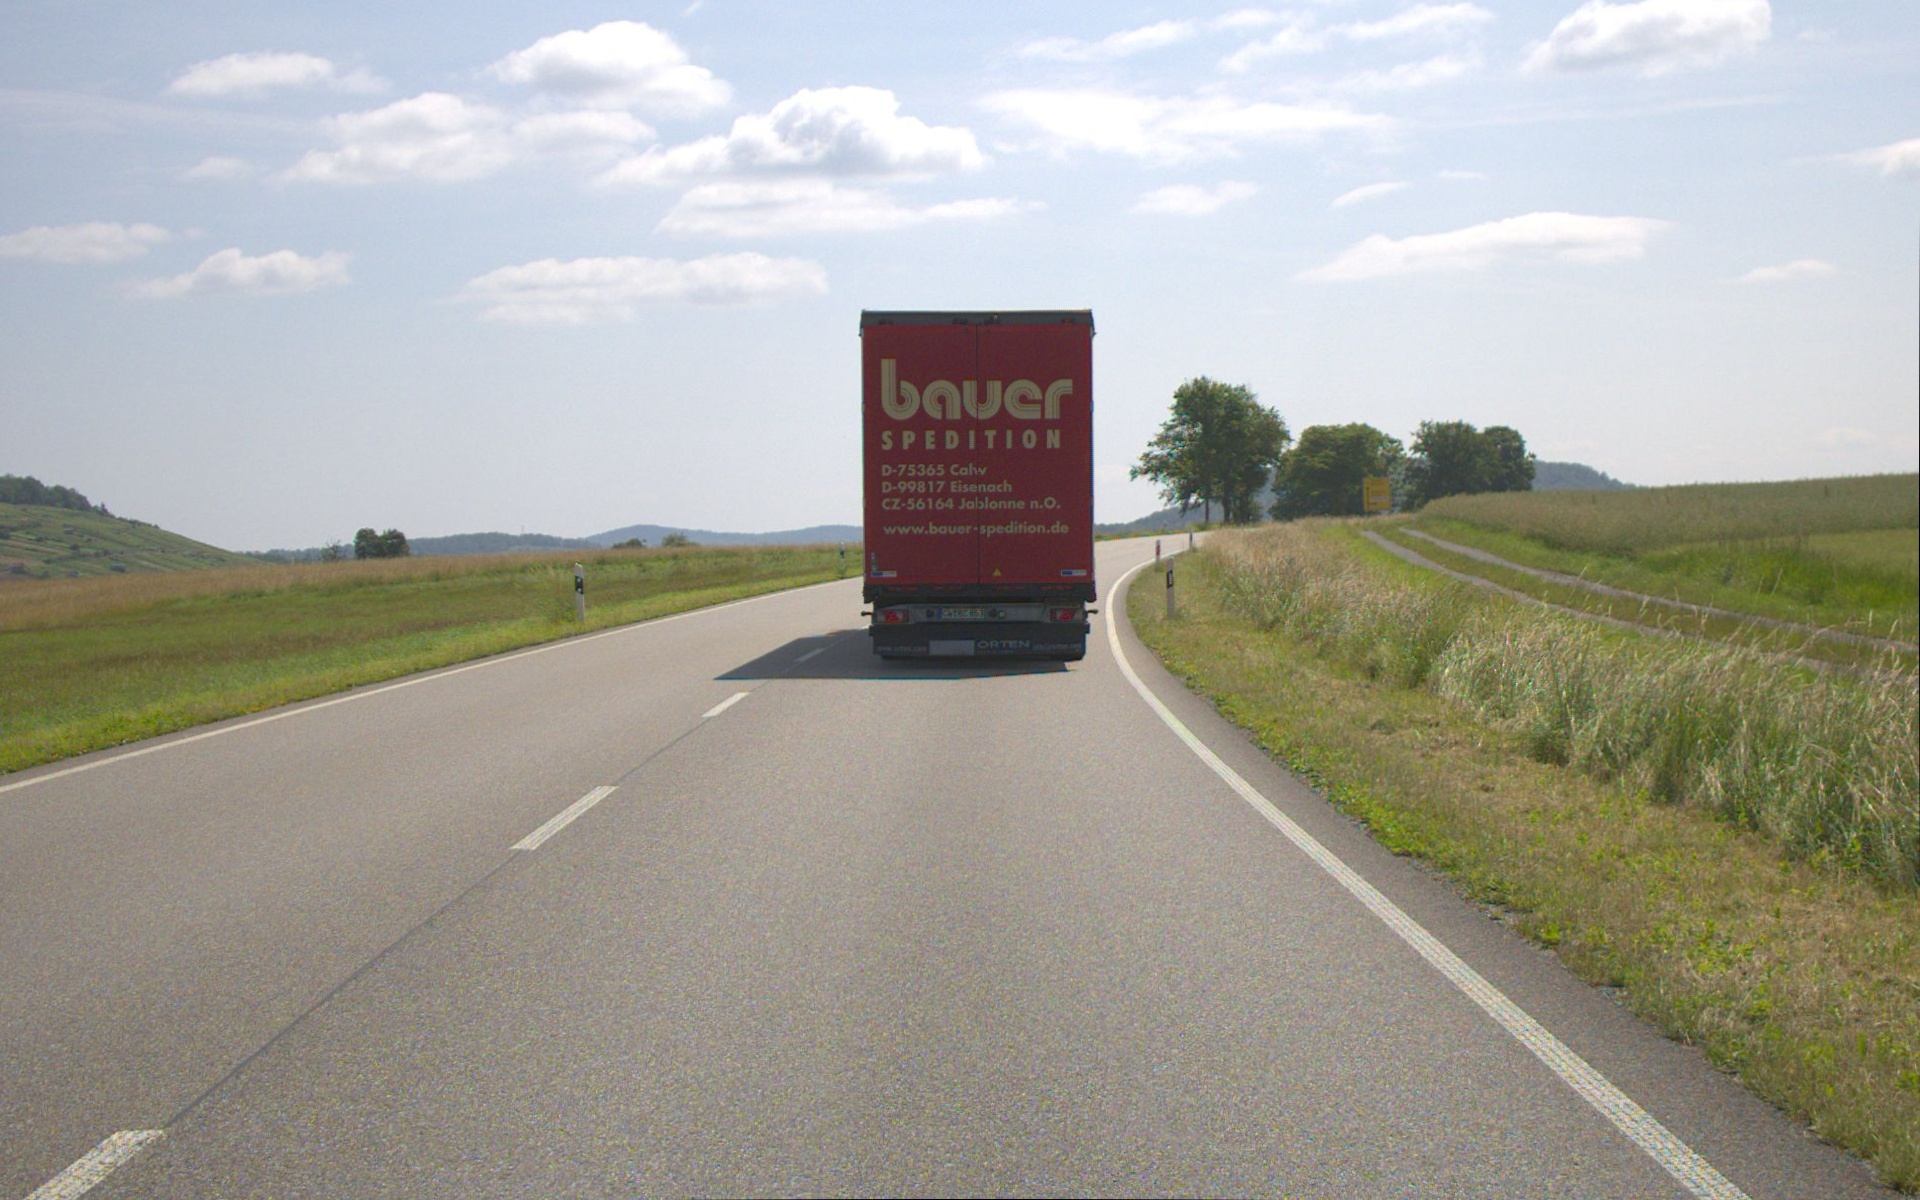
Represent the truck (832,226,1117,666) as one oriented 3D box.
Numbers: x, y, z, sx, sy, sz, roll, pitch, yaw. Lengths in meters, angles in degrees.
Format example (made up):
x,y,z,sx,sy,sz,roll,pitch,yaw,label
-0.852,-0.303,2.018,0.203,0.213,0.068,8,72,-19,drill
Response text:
x,y,z,sx,sy,sz,roll,pitch,yaw,label
0.256,-1.758,41.836,2.975,4.697,9.366,1,1,1,truck
